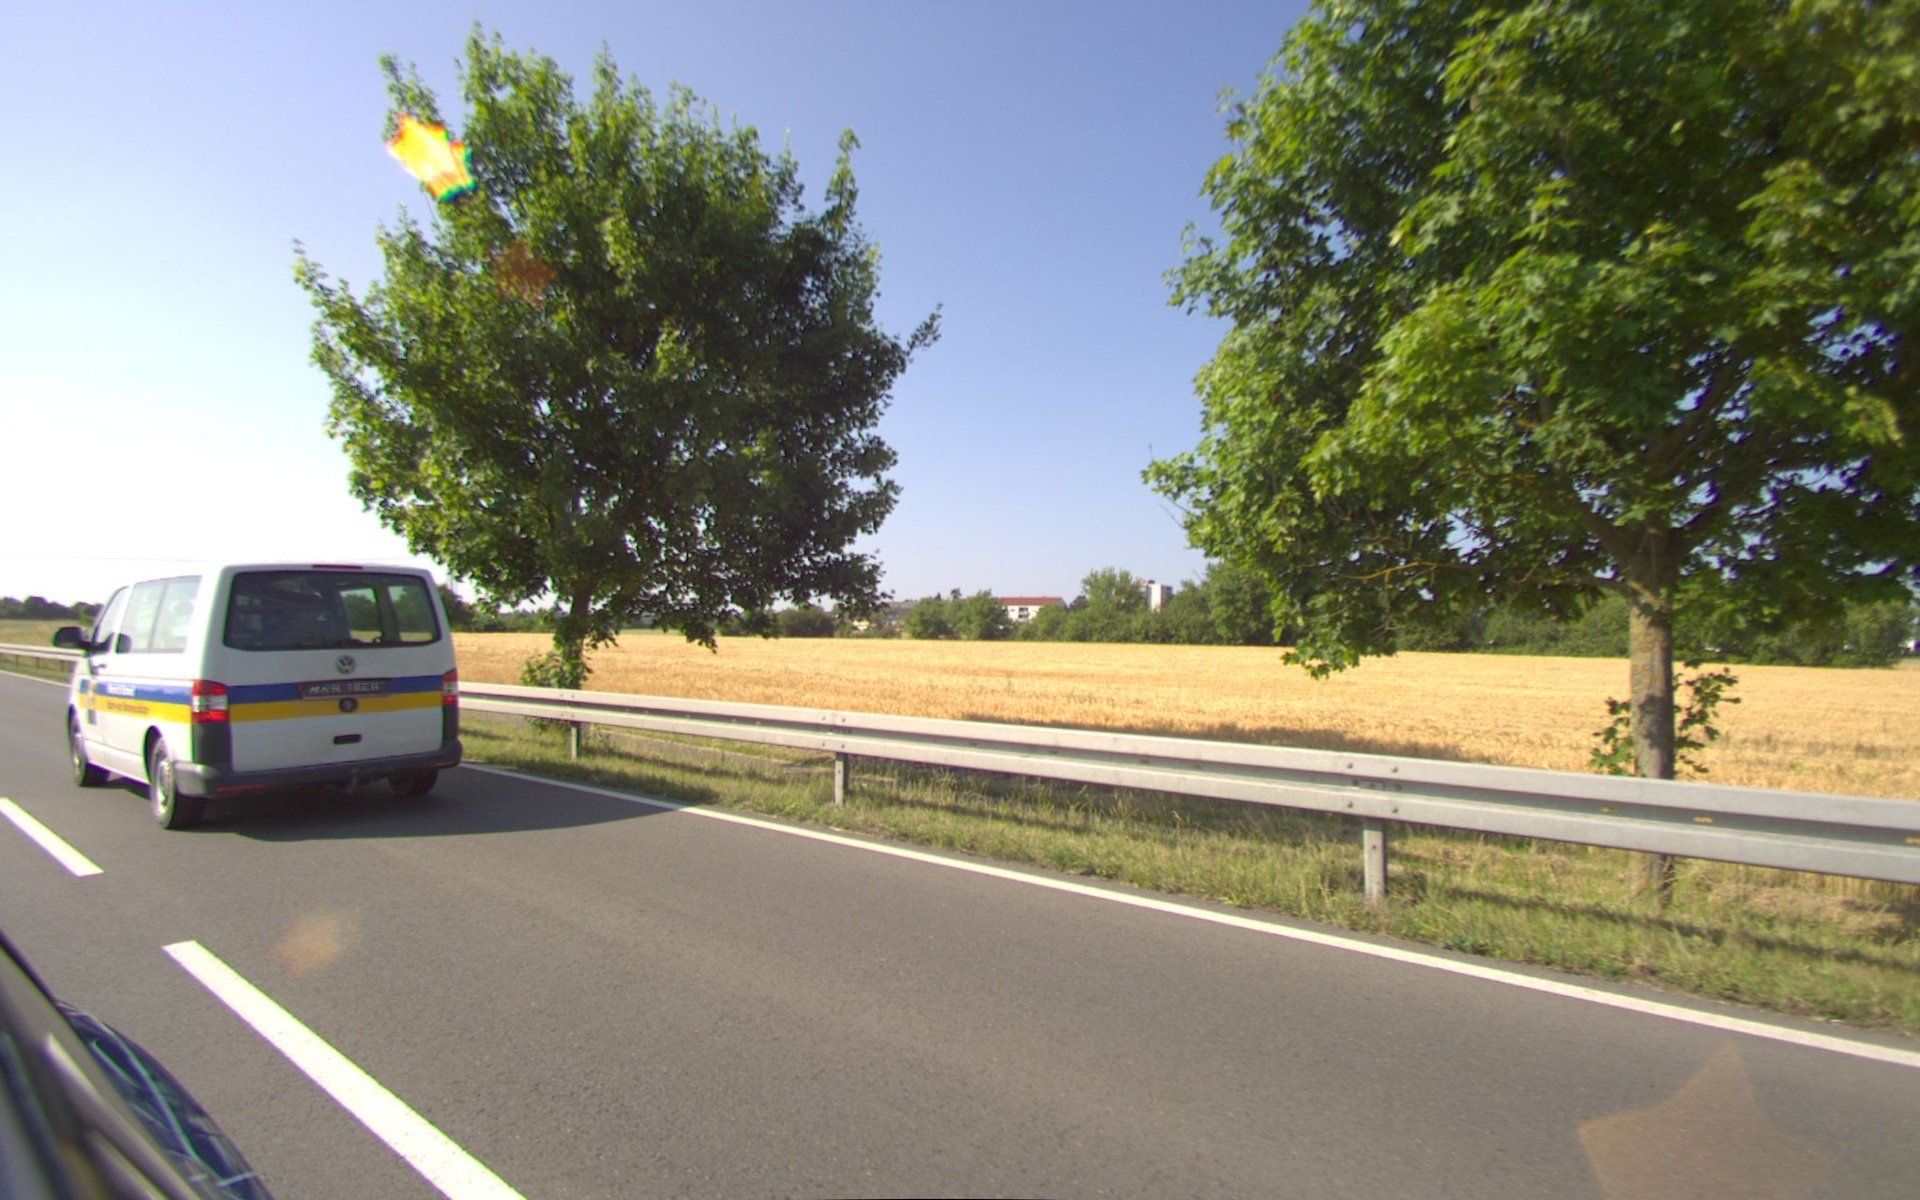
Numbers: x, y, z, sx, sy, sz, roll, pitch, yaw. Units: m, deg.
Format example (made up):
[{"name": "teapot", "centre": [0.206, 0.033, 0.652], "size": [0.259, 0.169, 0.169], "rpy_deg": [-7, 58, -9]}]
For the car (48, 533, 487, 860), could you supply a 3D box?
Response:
[{"name": "car", "centre": [-6.043, 0.596, 8.568], "size": [4.780, 2.029, 1.892], "rpy_deg": [0, 0, 41]}]
